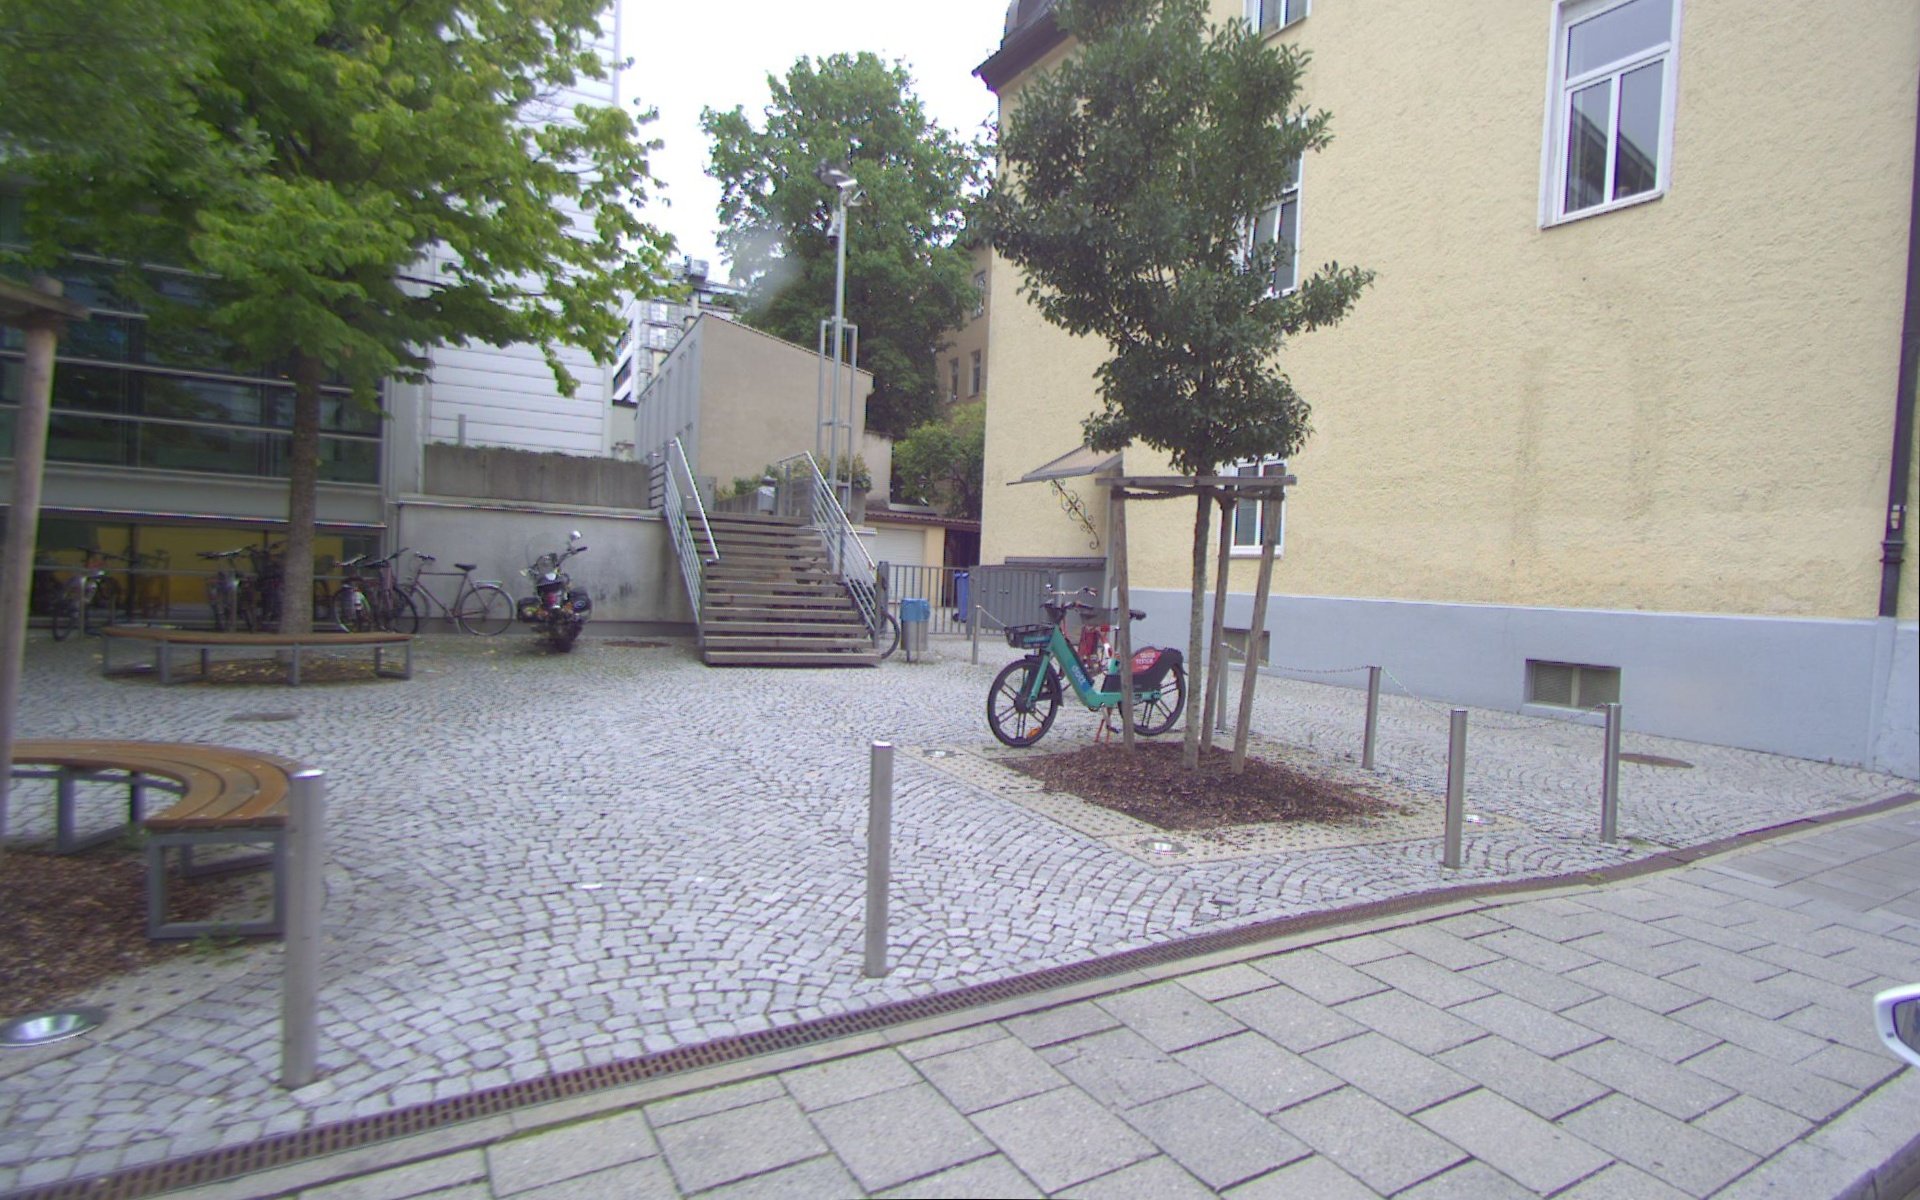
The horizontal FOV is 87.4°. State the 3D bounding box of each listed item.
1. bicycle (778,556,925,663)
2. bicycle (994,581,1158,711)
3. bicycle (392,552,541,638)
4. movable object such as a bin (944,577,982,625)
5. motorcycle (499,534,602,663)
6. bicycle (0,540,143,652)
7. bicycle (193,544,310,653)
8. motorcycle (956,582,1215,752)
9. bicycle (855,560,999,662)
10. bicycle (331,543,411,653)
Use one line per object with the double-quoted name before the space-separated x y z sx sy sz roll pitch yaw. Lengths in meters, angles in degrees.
"bicycle" -1.621 0.072 14.194 0.758 1.268 3.207 1 3 -31
"bicycle" 1.185 0.442 10.793 0.738 1.188 1.967 2 2 -27
"bicycle" -6.674 -0.058 13.633 1.773 1.106 0.414 2 1 -28
"movable object such as a bin" 0.063 0.025 21.787 0.641 0.984 0.475 2 3 -28
"motorcycle" -5.196 -0.053 12.610 0.957 1.431 2.655 2 1 -27
"bicycle" -9.563 -0.076 10.876 0.699 1.090 1.889 2 2 -27
"bicycle" -8.146 -0.051 11.635 0.816 1.141 1.889 2 2 -27
"motorcycle" 0.994 0.508 7.813 1.955 1.188 0.574 2 2 -27
"bicycle" -0.553 0.104 14.527 0.758 1.268 2.837 1 3 -31
"bicycle" -7.094 -0.062 12.167 0.689 1.220 1.889 2 2 -27
